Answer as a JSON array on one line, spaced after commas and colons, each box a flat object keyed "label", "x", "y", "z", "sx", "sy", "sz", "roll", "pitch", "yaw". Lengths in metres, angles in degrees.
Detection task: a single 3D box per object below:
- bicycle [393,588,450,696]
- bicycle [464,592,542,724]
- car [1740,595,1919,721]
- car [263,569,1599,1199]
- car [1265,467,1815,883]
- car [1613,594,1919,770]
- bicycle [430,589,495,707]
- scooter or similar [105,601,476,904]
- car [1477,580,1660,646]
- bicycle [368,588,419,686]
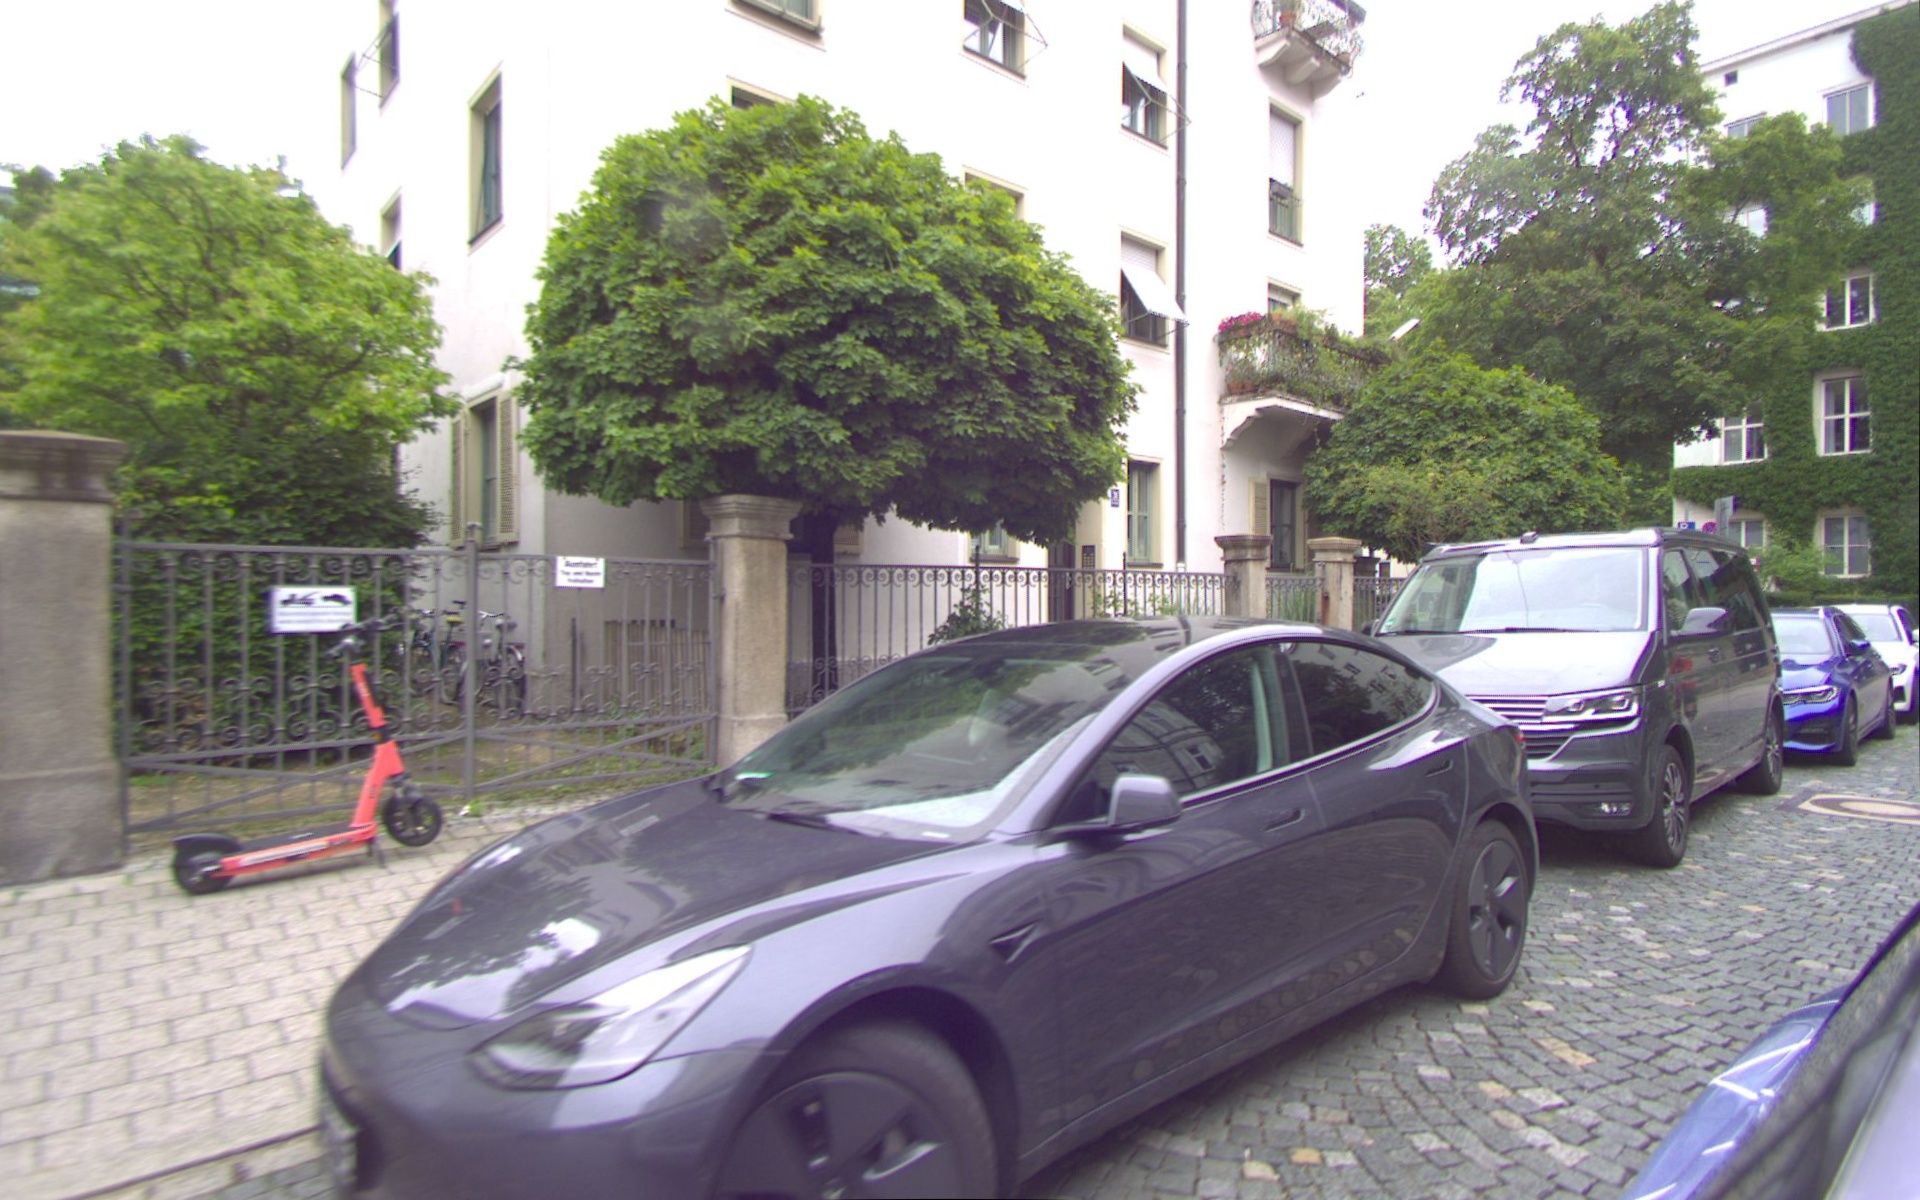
[{"label": "bicycle", "x": -6.556, "y": 0.487, "z": 12.292, "sx": 0.392, "sy": 1.232, "sz": 1.342, "roll": -1, "pitch": 0, "yaw": -37}, {"label": "bicycle", "x": -4.611, "y": 0.536, "z": 10.177, "sx": 0.392, "sy": 1.232, "sz": 1.450, "roll": -1, "pitch": 1, "yaw": -37}, {"label": "car", "x": 12.139, "y": 0.656, "z": 13.674, "sx": 4.207, "sy": 1.392, "sz": 1.743, "roll": 0, "pitch": 2, "yaw": -41}, {"label": "car", "x": 0.315, "y": 0.704, "z": 3.566, "sx": 4.450, "sy": 1.484, "sz": 1.941, "roll": 0, "pitch": -1, "yaw": -39}, {"label": "car", "x": 4.404, "y": 0.370, "z": 7.263, "sx": 4.882, "sy": 1.995, "sz": 1.996, "roll": -1, "pitch": -2, "yaw": -43}, {"label": "car", "x": 8.390, "y": 0.673, "z": 10.396, "sx": 4.109, "sy": 1.392, "sz": 1.743, "roll": 0, "pitch": 2, "yaw": -41}, {"label": "bicycle", "x": -5.557, "y": 0.502, "z": 11.274, "sx": 0.392, "sy": 1.232, "sz": 1.342, "roll": -1, "pitch": 0, "yaw": -37}, {"label": "scooter or similar", "x": -3.213, "y": 0.651, "z": 4.941, "sx": 1.447, "sy": 1.230, "sz": 0.443, "roll": -1, "pitch": 6, "yaw": -44}, {"label": "car", "x": 16.902, "y": 0.367, "z": 28.226, "sx": 1.868, "sy": 1.702, "sz": 3.990, "roll": -1, "pitch": -1, "yaw": -43}, {"label": "bicycle", "x": -7.510, "y": 0.472, "z": 13.390, "sx": 0.392, "sy": 1.232, "sz": 1.342, "roll": -1, "pitch": 0, "yaw": -37}]
